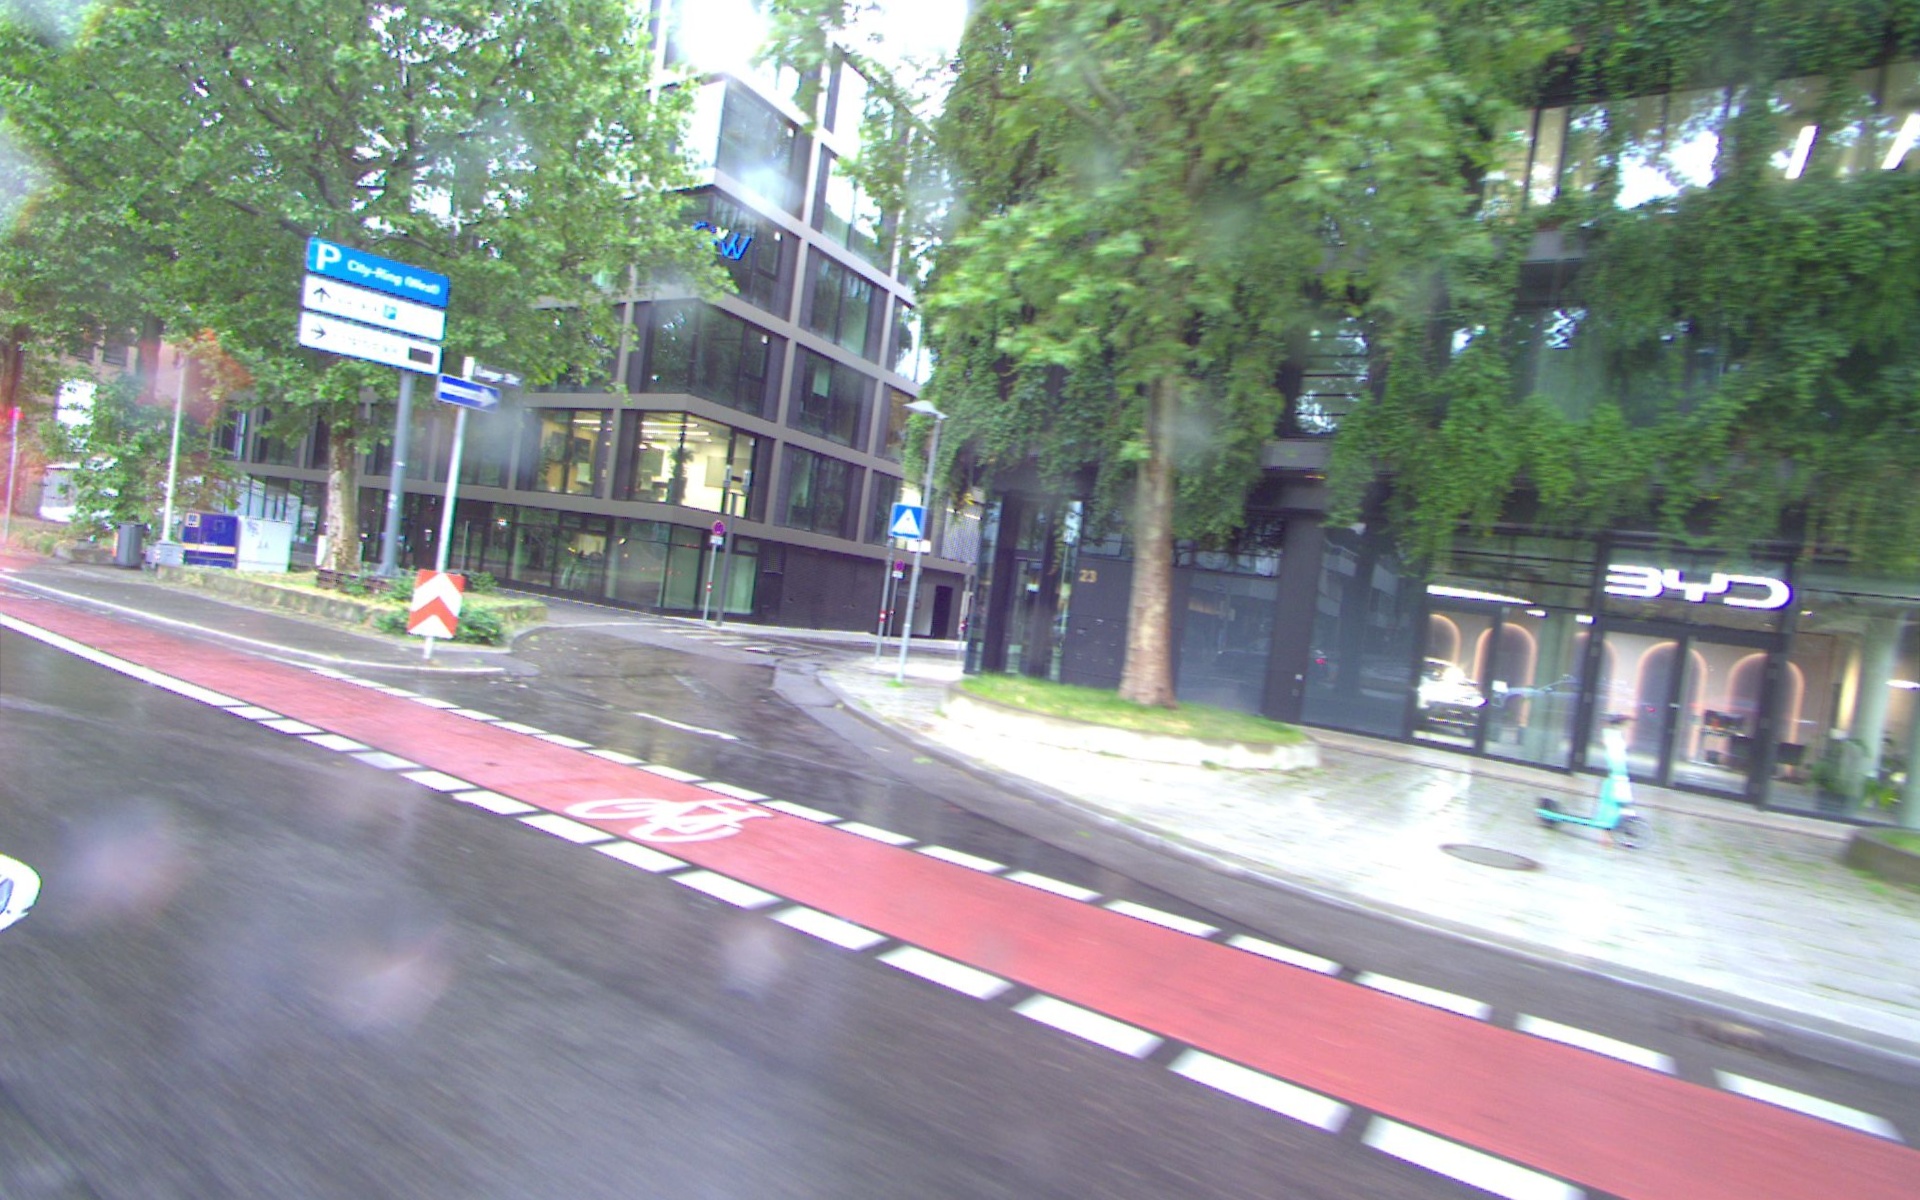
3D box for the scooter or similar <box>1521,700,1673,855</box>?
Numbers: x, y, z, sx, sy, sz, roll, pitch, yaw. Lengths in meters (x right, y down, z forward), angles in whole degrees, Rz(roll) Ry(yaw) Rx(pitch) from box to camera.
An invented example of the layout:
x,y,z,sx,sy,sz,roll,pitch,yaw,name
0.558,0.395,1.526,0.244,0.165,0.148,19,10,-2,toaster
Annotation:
x,y,z,sx,sy,sz,roll,pitch,yaw,name
6.008,1.651,9.542,0.376,1.243,1.074,7,0,-21,scooter or similar
